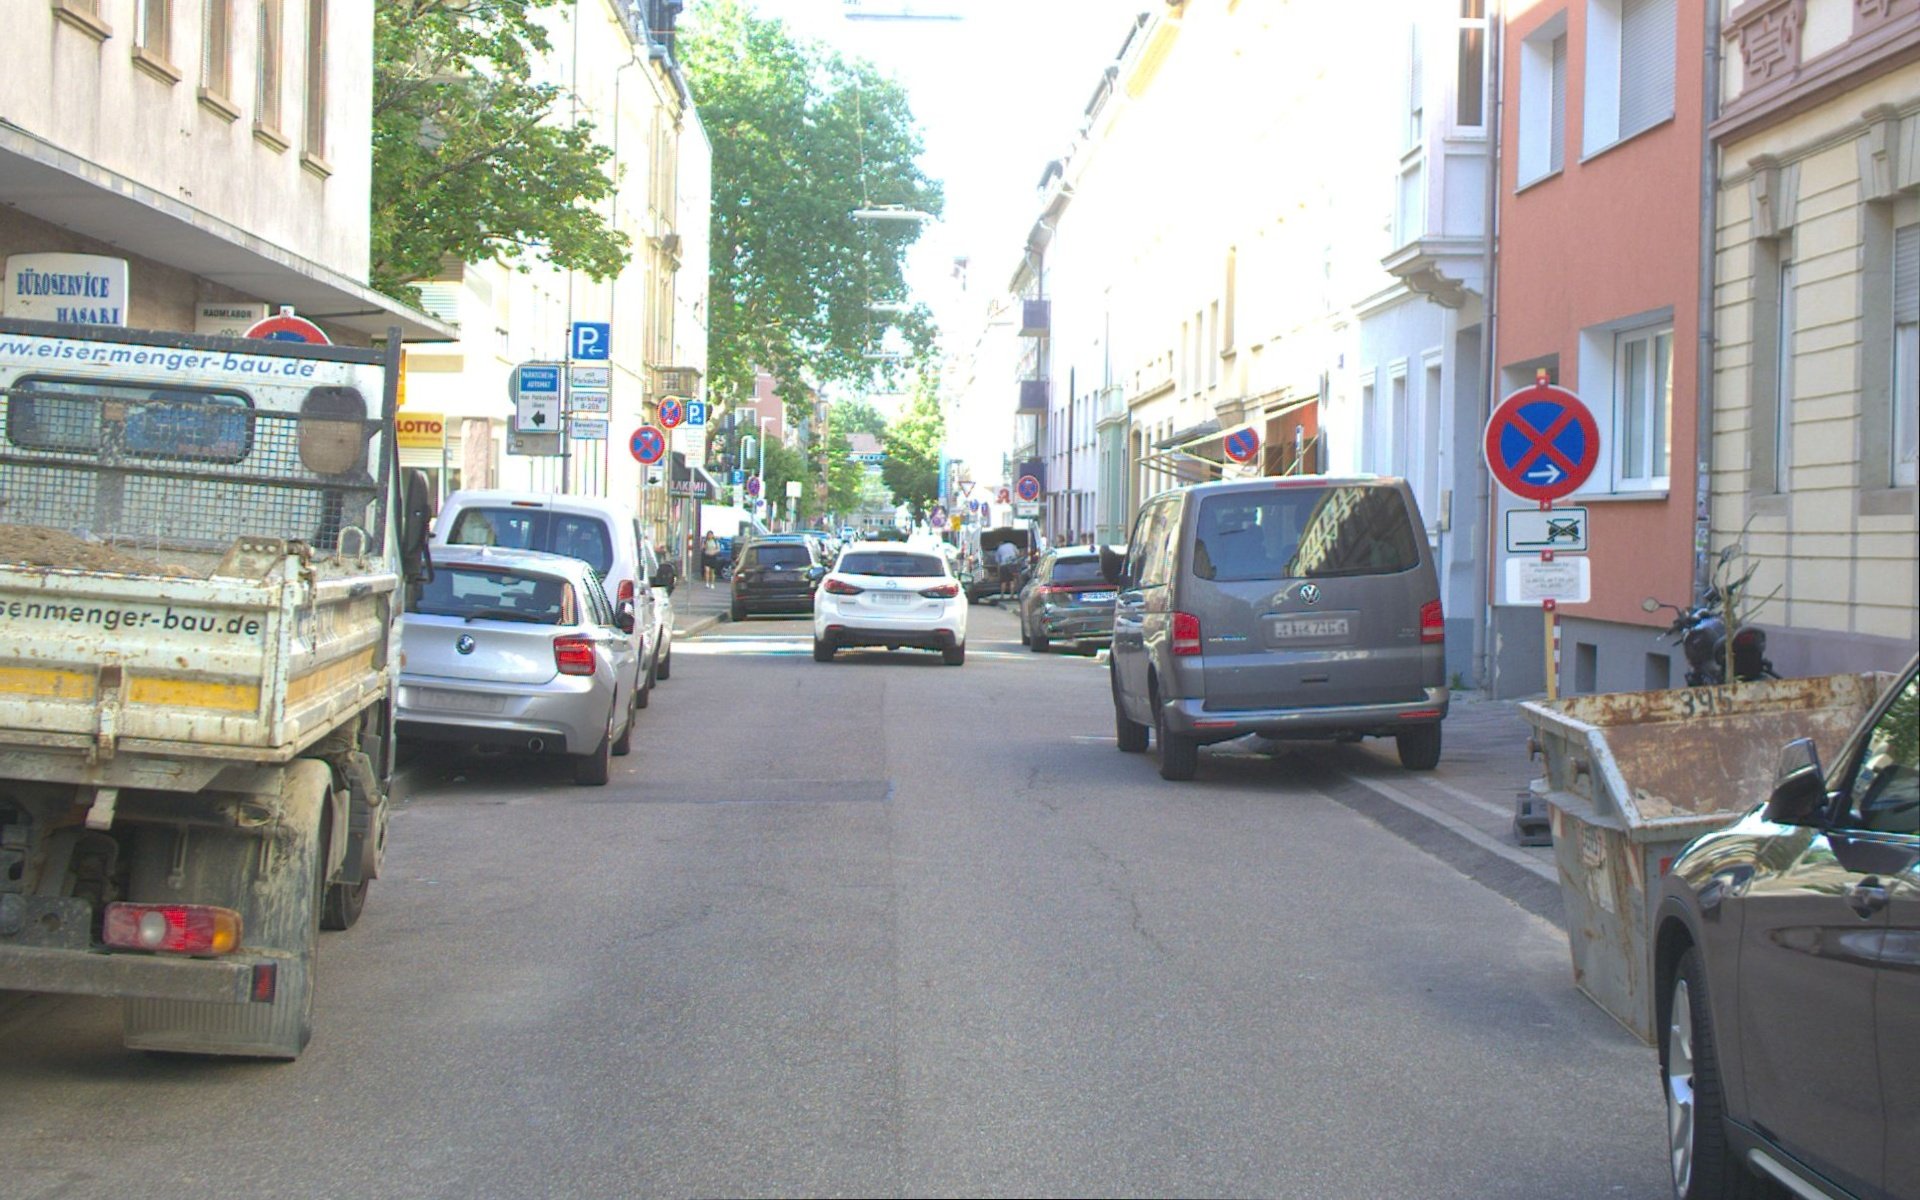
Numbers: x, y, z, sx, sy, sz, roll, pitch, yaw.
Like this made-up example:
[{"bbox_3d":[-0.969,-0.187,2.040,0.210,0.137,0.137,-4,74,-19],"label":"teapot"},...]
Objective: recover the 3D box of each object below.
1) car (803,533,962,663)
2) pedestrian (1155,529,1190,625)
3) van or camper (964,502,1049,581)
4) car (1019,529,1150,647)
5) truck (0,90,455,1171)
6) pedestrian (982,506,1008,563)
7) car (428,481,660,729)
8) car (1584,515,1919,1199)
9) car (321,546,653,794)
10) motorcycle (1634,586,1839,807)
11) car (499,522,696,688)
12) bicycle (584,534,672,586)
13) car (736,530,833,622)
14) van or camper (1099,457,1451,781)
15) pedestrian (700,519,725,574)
[{"bbox_3d":[-0.911,-0.061,42.064,1.834,1.481,4.057,1,1,0],"label":"car"},{"bbox_3d":[3.839,-0.408,62.104,0.528,1.721,0.489,1,0,14],"label":"pedestrian"},{"bbox_3d":[1.149,-1.448,86.256,1.993,1.919,4.000,1,0,-1],"label":"van or camper"},{"bbox_3d":[1.730,-0.200,48.741,1.647,1.571,3.679,1,1,-1],"label":"car"},{"bbox_3d":[-2.920,0.033,11.304,2.156,2.581,6.251,-1,1,-6],"label":"truck"},{"bbox_3d":[0.886,-1.668,87.672,0.627,1.459,0.575,1,0,-1],"label":"pedestrian"},{"bbox_3d":[-3.343,-0.006,28.209,1.647,1.861,4.001,1,1,-4],"label":"car"},{"bbox_3d":[2.472,0.669,6.256,1.739,1.571,4.378,1,2,-1],"label":"car"},{"bbox_3d":[-2.995,0.383,22.477,1.758,1.411,4.001,-1,1,-2],"label":"car"},{"bbox_3d":[4.739,0.550,21.165,0.596,1.182,2.760,-3,1,1],"label":"motorcycle"},{"bbox_3d":[-3.653,0.008,35.110,1.647,1.571,3.679,1,1,-1],"label":"car"},{"bbox_3d":[-7.456,-0.903,77.248,1.949,1.111,0.512,1,1,-35],"label":"bicycle"},{"bbox_3d":[-3.225,-0.464,63.542,1.624,1.591,3.580,2,1,-1],"label":"car"},{"bbox_3d":[2.093,0.076,24.058,1.775,2.029,4.571,-1,1,-3],"label":"van or camper"},{"bbox_3d":[-6.573,-1.423,91.368,0.627,1.459,0.575,1,0,-1],"label":"pedestrian"}]
